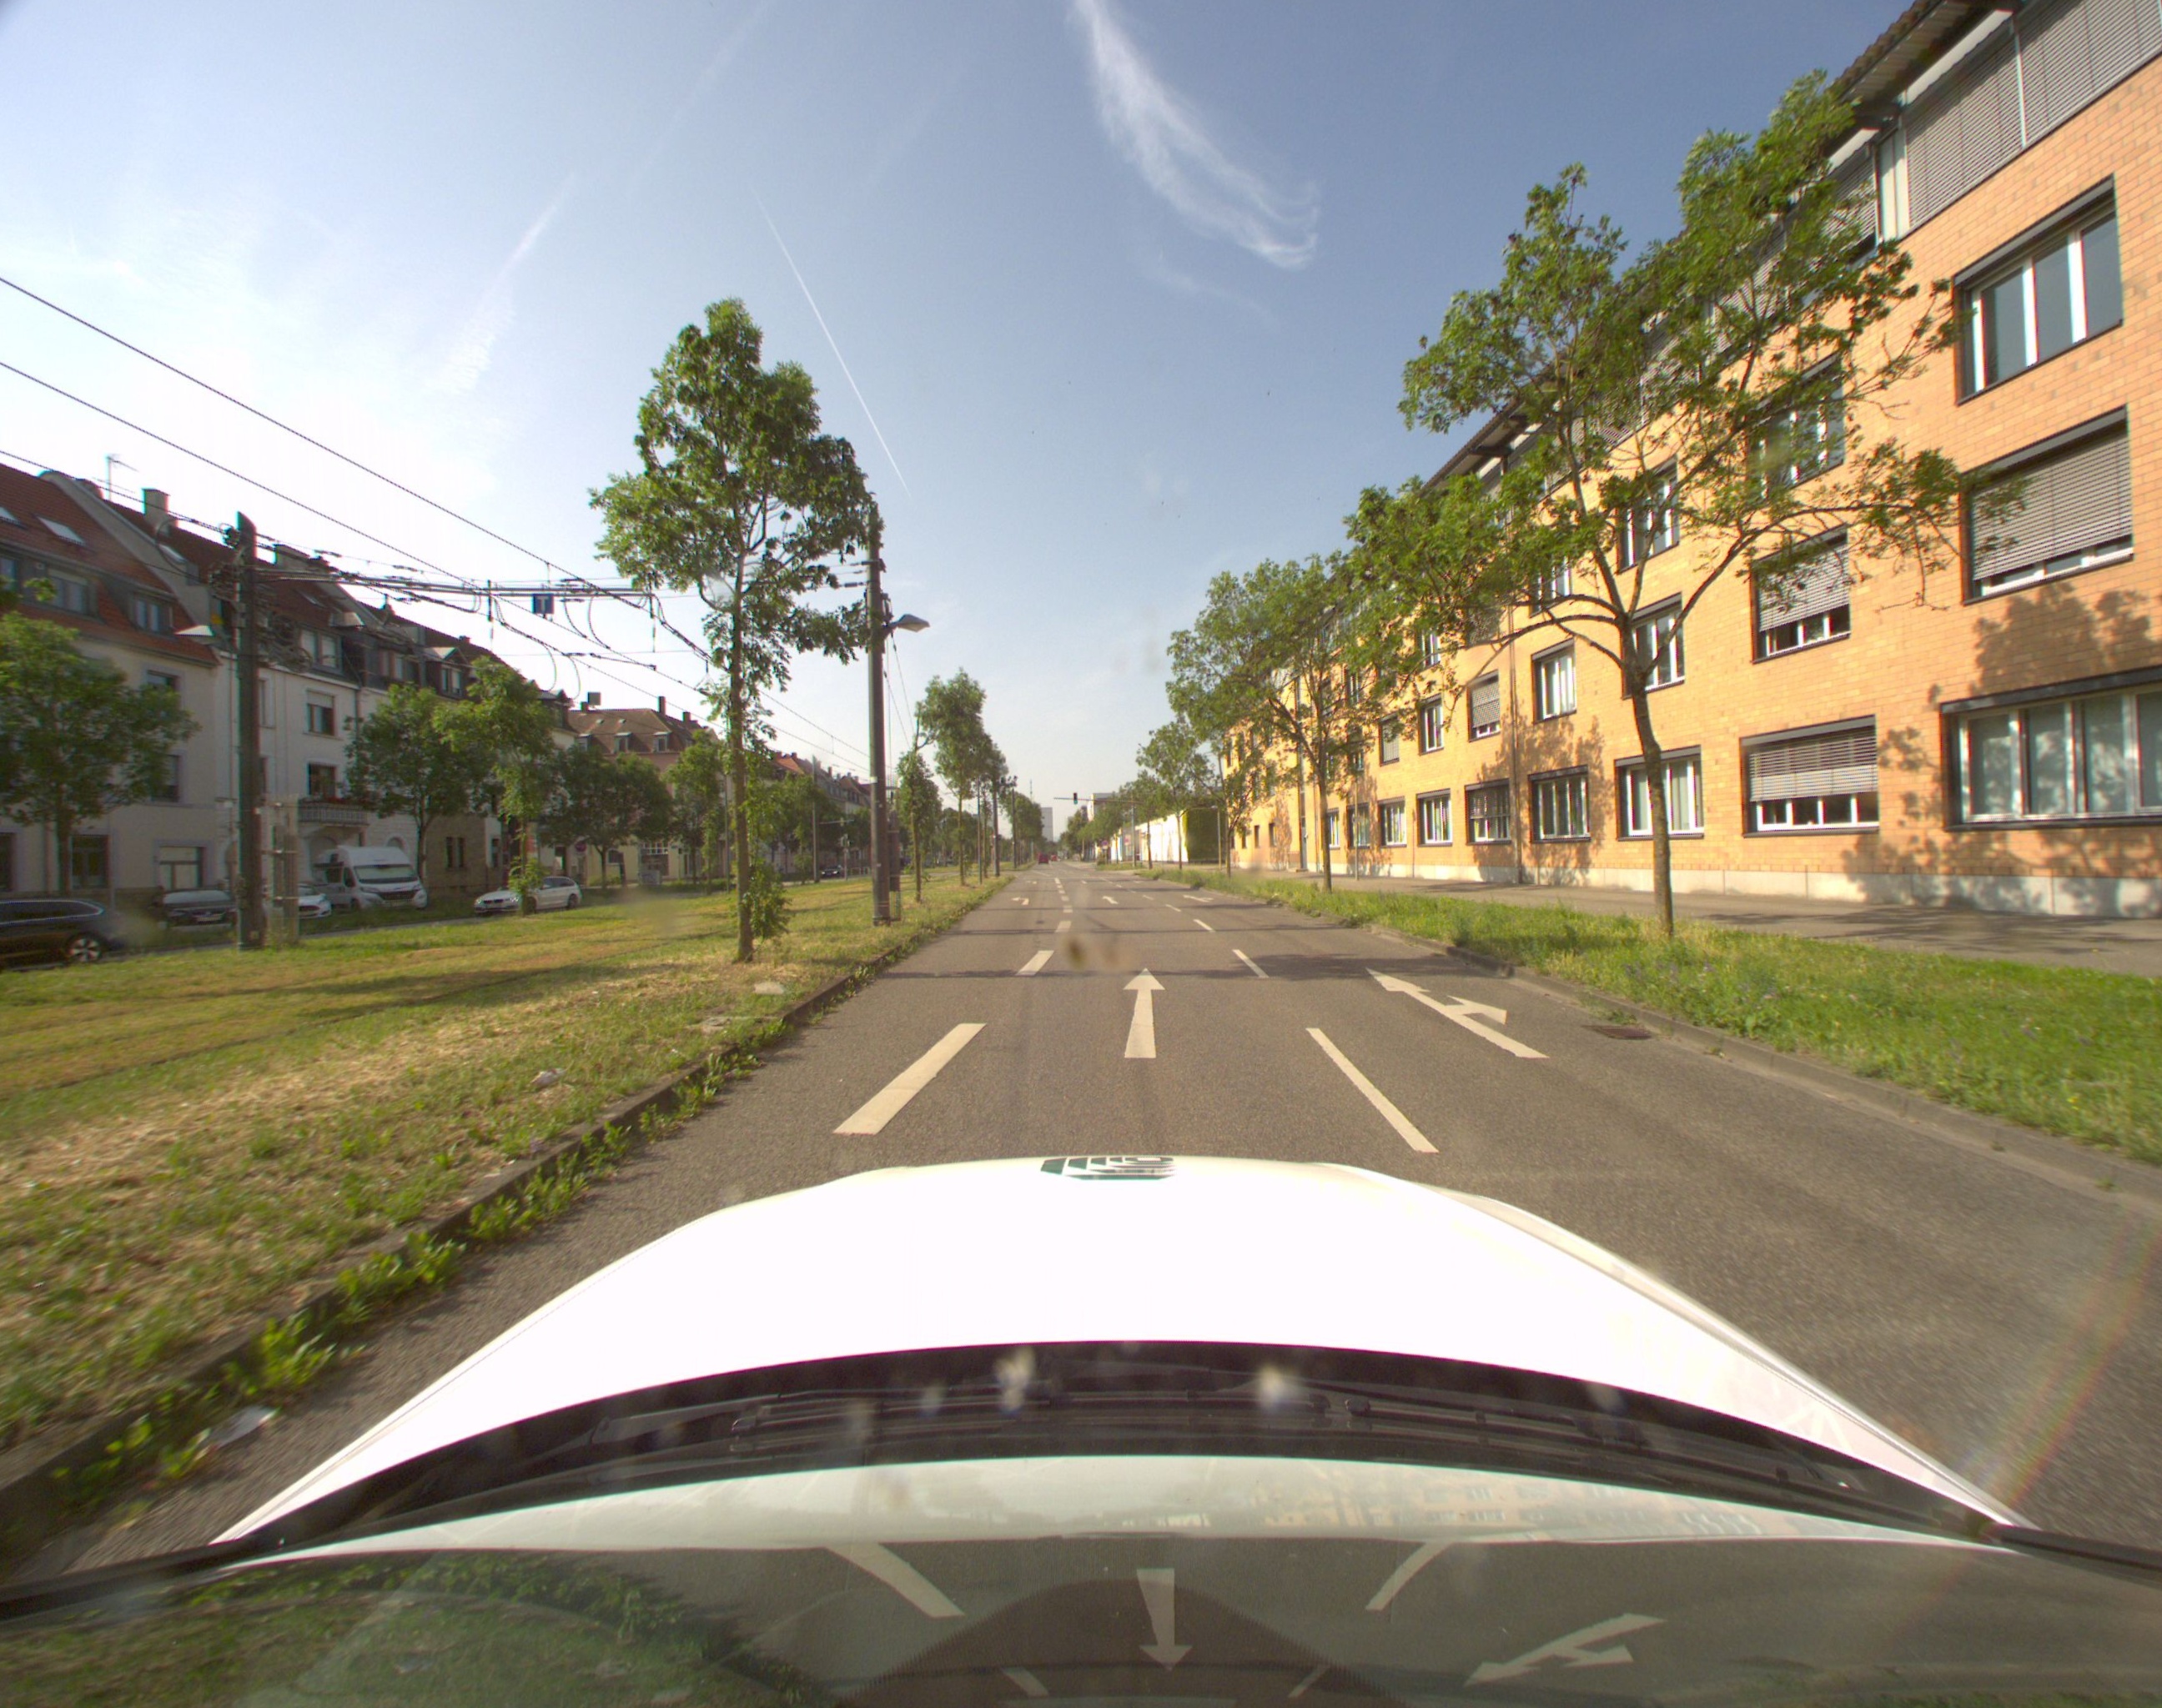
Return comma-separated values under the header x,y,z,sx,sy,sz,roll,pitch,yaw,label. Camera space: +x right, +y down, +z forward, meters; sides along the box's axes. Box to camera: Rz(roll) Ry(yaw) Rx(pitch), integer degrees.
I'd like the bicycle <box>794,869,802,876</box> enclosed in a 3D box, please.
x,y,z,sx,sy,sz,roll,pitch,yaw,label
-35.124,2.299,101.042,0.446,0.857,1.944,0,-1,-4,bicycle

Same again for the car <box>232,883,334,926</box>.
x,y,z,sx,sy,sz,roll,pitch,yaw,label
-27.531,1.701,28.079,3.639,1.332,1.672,0,-1,32,car

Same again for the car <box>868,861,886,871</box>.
x,y,z,sx,sy,sz,roll,pitch,yaw,label
-33.685,1.950,134.386,1.990,1.628,4.768,0,0,-4,car

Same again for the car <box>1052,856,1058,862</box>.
x,y,z,sx,sy,sz,roll,pitch,yaw,label
-7.276,1.353,226.503,1.743,1.650,3.213,0,-1,-2,car

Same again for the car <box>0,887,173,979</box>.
x,y,z,sx,sy,sz,roll,pitch,yaw,label
-21.142,1.521,15.371,1.988,1.630,5.376,0,-1,-1,car

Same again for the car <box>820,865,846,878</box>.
x,y,z,sx,sy,sz,roll,pitch,yaw,label
-27.314,1.941,89.705,1.808,1.433,3.921,0,-1,-3,car

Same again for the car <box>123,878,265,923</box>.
x,y,z,sx,sy,sz,roll,pitch,yaw,label
-27.498,1.407,25.258,3.644,1.241,1.670,0,-1,20,car

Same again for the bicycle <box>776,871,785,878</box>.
x,y,z,sx,sy,sz,roll,pitch,yaw,label
-34.774,2.318,94.223,0.436,0.789,1.944,0,-1,-4,bicycle

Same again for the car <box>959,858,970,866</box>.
x,y,z,sx,sy,sz,roll,pitch,yaw,label
-29.534,2.045,207.001,1.958,1.694,4.298,0,1,1,car

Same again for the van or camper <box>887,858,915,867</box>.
x,y,z,sx,sy,sz,roll,pitch,yaw,label
-32.619,1.590,147.755,4.788,1.623,2.015,0,-1,30,van or camper

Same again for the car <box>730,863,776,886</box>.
x,y,z,sx,sy,sz,roll,pitch,yaw,label
-23.683,1.456,58.947,1.760,1.655,3.997,0,-1,-2,car

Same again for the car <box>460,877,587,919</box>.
x,y,z,sx,sy,sz,roll,pitch,yaw,label
-21.891,1.680,32.257,1.943,1.459,4.644,0,-1,-2,car

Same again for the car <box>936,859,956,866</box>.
x,y,z,sx,sy,sz,roll,pitch,yaw,label
-35.185,2.166,212.131,5.259,1.738,2.012,0,-1,31,car

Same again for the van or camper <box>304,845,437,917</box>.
x,y,z,sx,sy,sz,roll,pitch,yaw,label
-27.642,0.981,31.640,5.850,2.573,2.213,0,-1,32,van or camper

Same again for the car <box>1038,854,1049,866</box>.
x,y,z,sx,sy,sz,roll,pitch,yaw,label
-6.541,1.073,142.627,1.743,2.014,3.213,0,-1,-2,car
